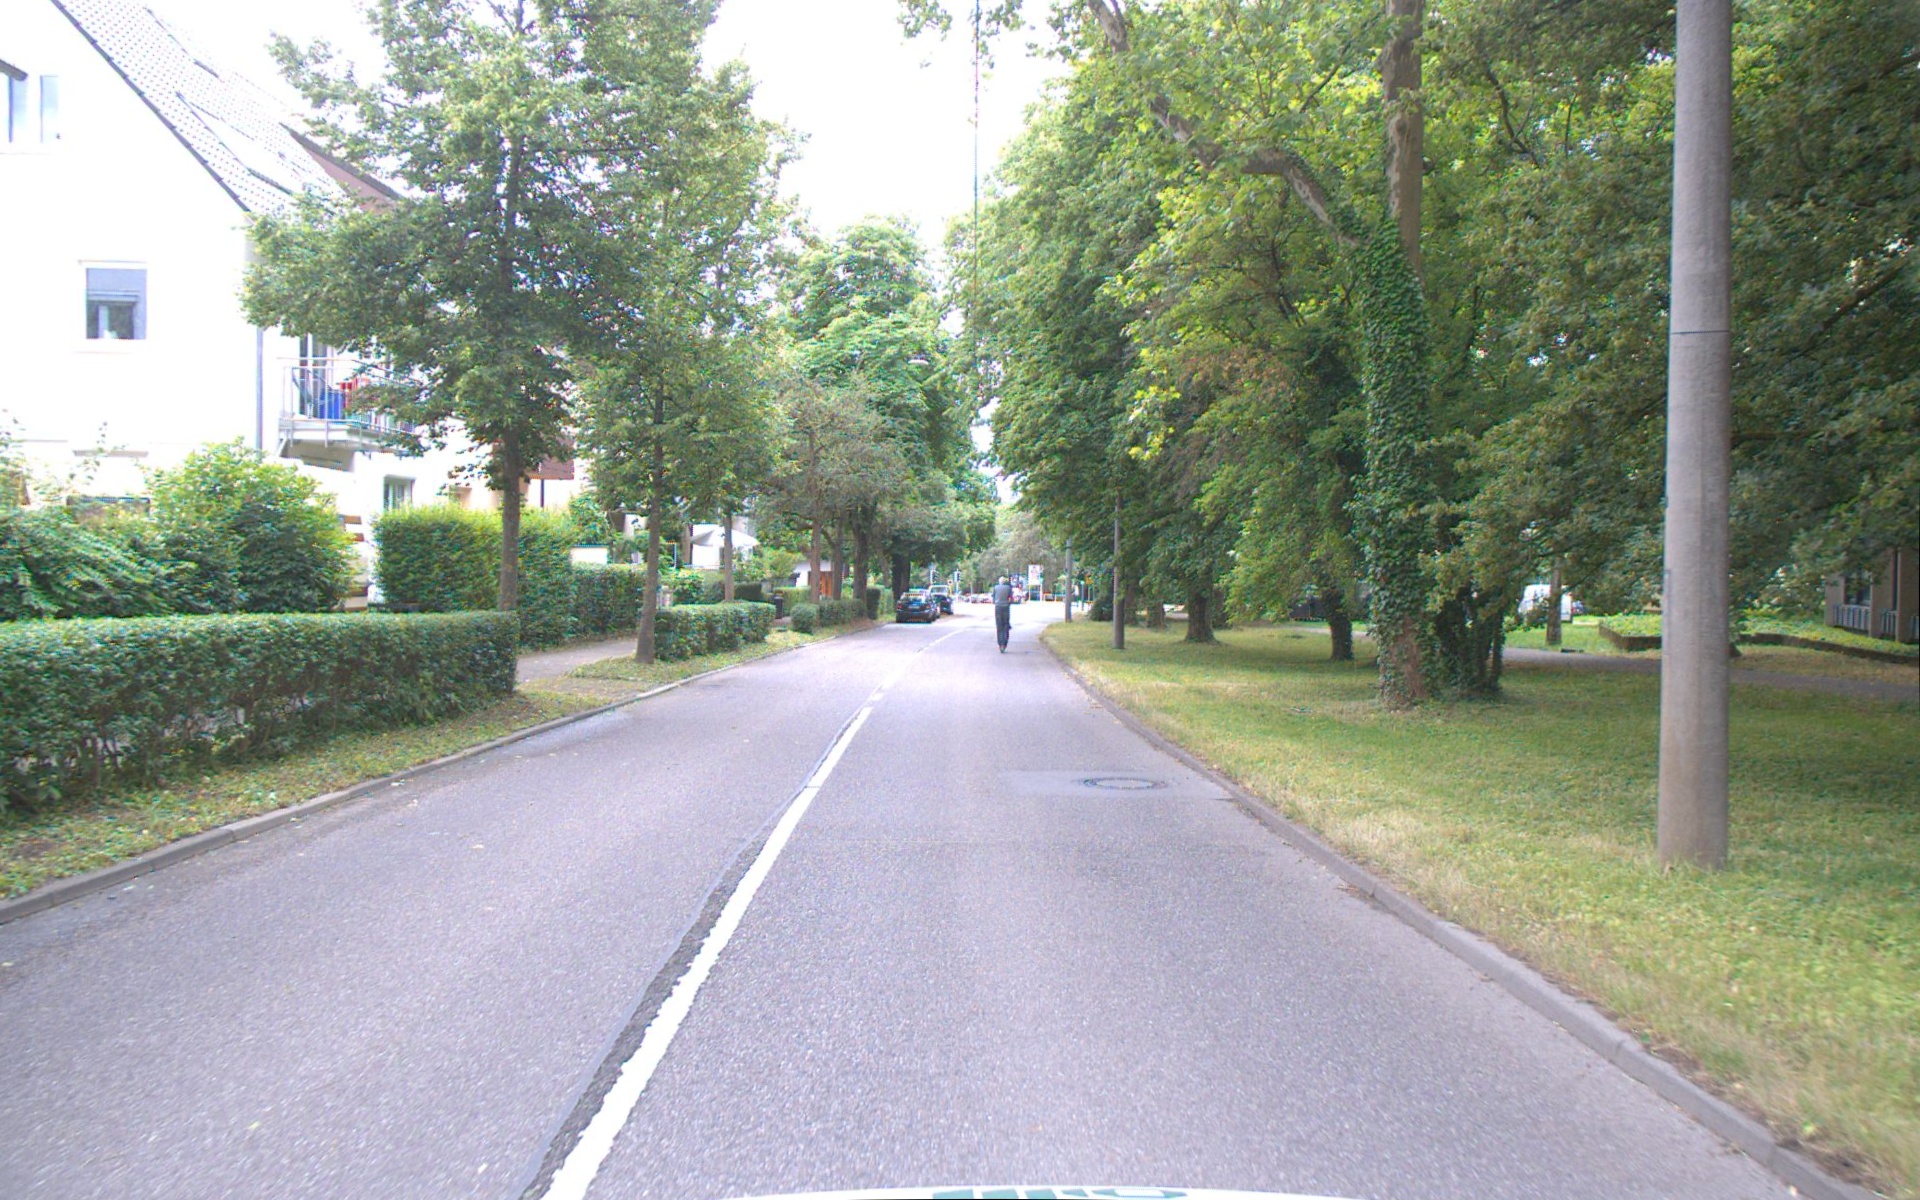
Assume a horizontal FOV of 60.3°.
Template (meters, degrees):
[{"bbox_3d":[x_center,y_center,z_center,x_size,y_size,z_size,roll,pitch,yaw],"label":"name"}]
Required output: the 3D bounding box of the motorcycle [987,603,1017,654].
[{"bbox_3d":[1.068,0.711,41.895,0.659,1.239,1.274,2,0,3],"label":"motorcycle"}]

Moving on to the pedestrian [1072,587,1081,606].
[{"bbox_3d":[11.191,-0.366,159.017,0.717,1.792,0.662,0,-1,21],"label":"pedestrian"}]

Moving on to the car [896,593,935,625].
[{"bbox_3d":[-2.156,0.420,81.091,1.757,1.498,4.418,0,0,0],"label":"car"}]

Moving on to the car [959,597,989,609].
[{"bbox_3d":[1.864,0.436,220.652,3.905,1.537,1.800,0,0,-1],"label":"car"}]

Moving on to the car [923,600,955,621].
[{"bbox_3d":[-1.406,0.729,112.252,1.852,1.435,4.555,0,-1,3],"label":"car"}]

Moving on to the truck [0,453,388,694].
[{"bbox_3d":[-11.456,-0.363,23.572,5.678,3.185,2.517,1,0,-1],"label":"truck"}]

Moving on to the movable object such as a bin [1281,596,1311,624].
[{"bbox_3d":[18.117,0.535,89.160,1.299,1.527,1.314,-1,0,0],"label":"movable object such as a bin"}]

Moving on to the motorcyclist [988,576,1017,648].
[{"bbox_3d":[1.095,0.294,42.118,0.659,1.792,0.639,2,0,3],"label":"motorcyclist"}]

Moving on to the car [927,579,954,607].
[{"bbox_3d":[-1.480,-0.520,123.057,1.820,1.998,4.501,0,-1,-3],"label":"car"}]

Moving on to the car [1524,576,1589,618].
[{"bbox_3d":[27.742,-0.166,77.093,2.041,1.875,4.972,-1,1,10],"label":"car"}]

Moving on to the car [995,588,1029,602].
[{"bbox_3d":[6.099,-0.582,193.100,3.905,1.537,1.800,0,0,-1],"label":"car"}]

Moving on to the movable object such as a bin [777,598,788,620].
[{"bbox_3d":[-7.772,0.396,72.433,0.447,0.931,0.508,0,0,-4],"label":"movable object such as a bin"}]

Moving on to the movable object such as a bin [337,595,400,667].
[{"bbox_3d":[-7.904,0.405,22.114,0.568,0.942,0.693,-1,0,2],"label":"movable object such as a bin"}]
